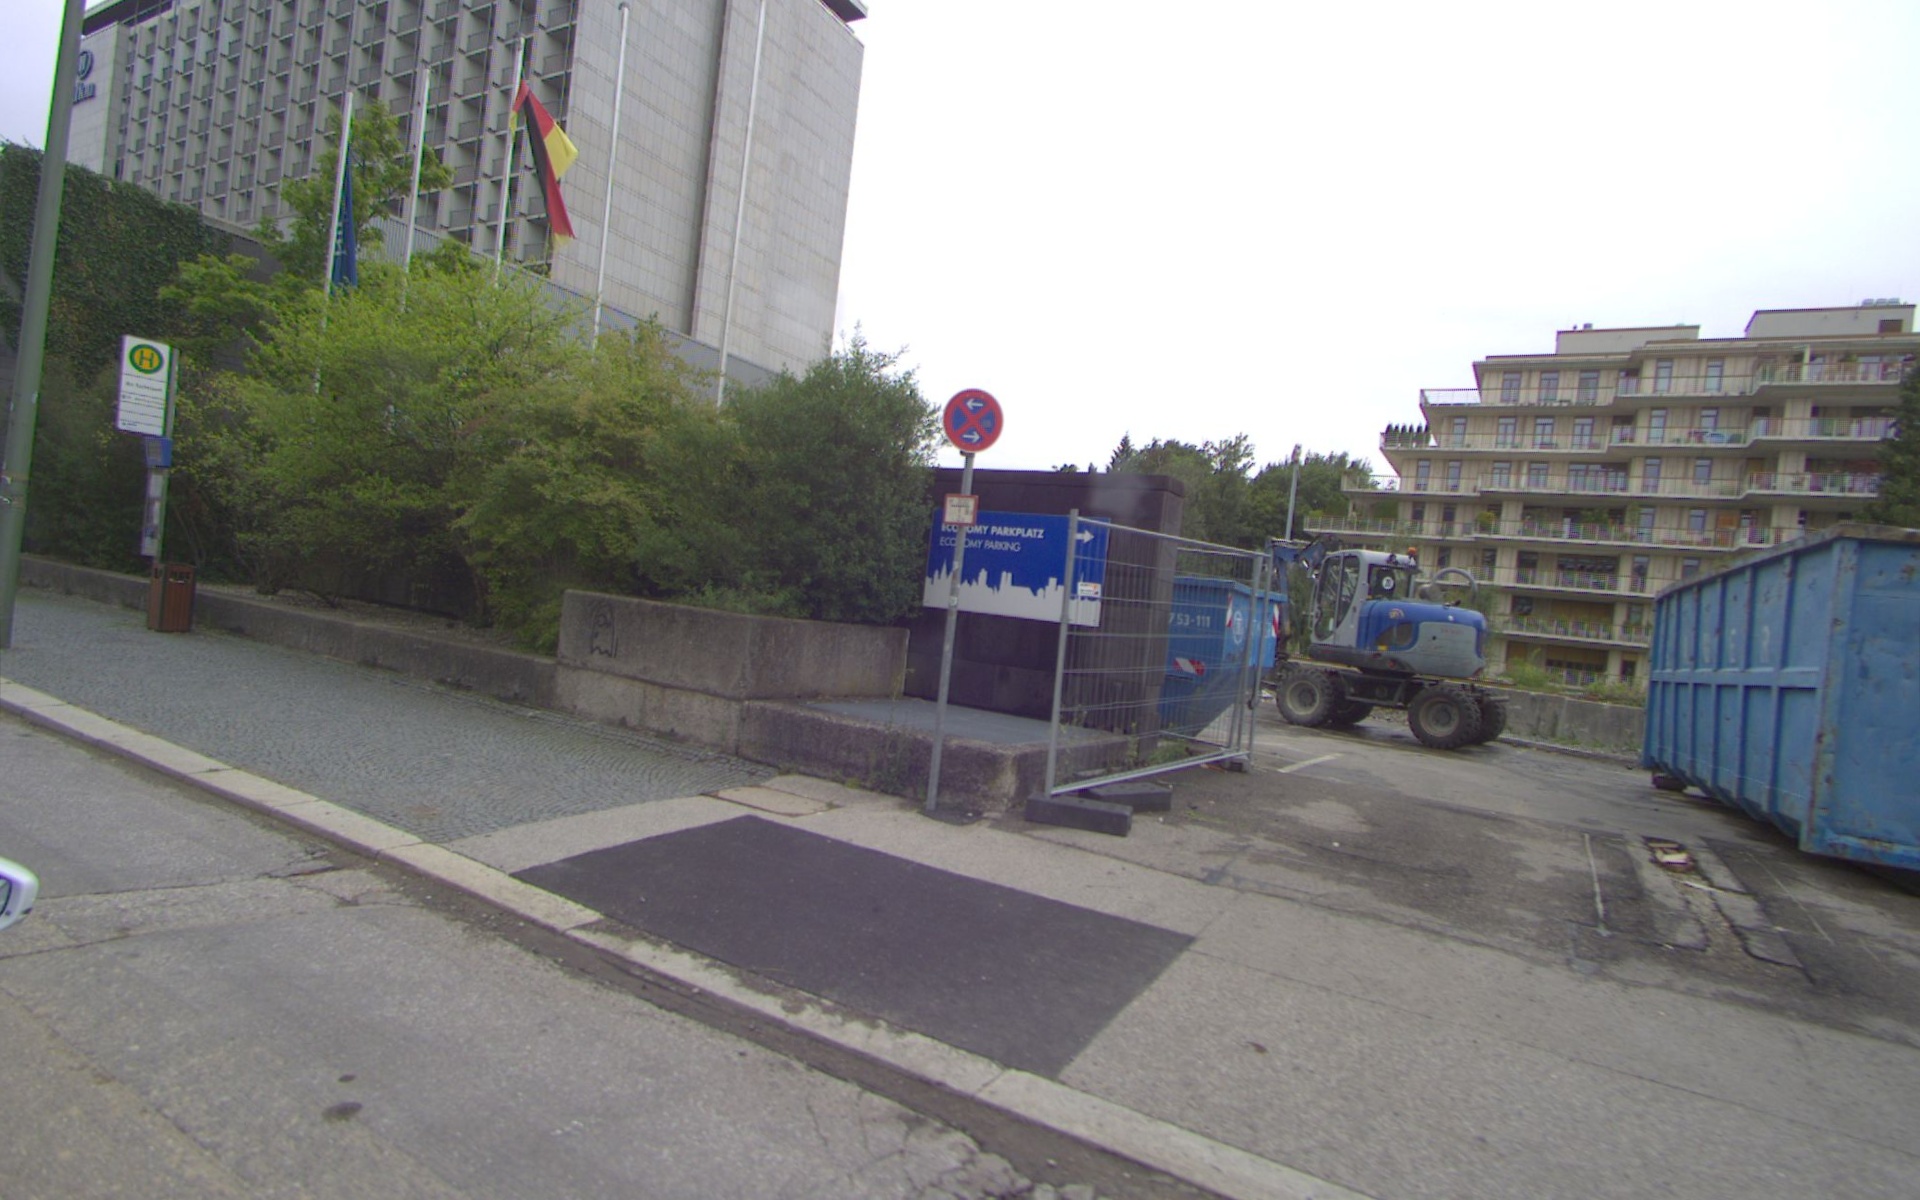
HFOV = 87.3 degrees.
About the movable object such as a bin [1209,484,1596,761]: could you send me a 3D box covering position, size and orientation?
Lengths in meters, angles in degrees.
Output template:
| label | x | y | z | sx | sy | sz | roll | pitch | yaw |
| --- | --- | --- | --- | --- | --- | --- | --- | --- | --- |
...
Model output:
| label | x | y | z | sx | sy | sz | roll | pitch | yaw |
| --- | --- | --- | --- | --- | --- | --- | --- | --- | --- |
| movable object such as a bin | 7.484 | 0.342 | 18.625 | 3.818 | 3.730 | 7.176 | 6 | 0 | 2 |
